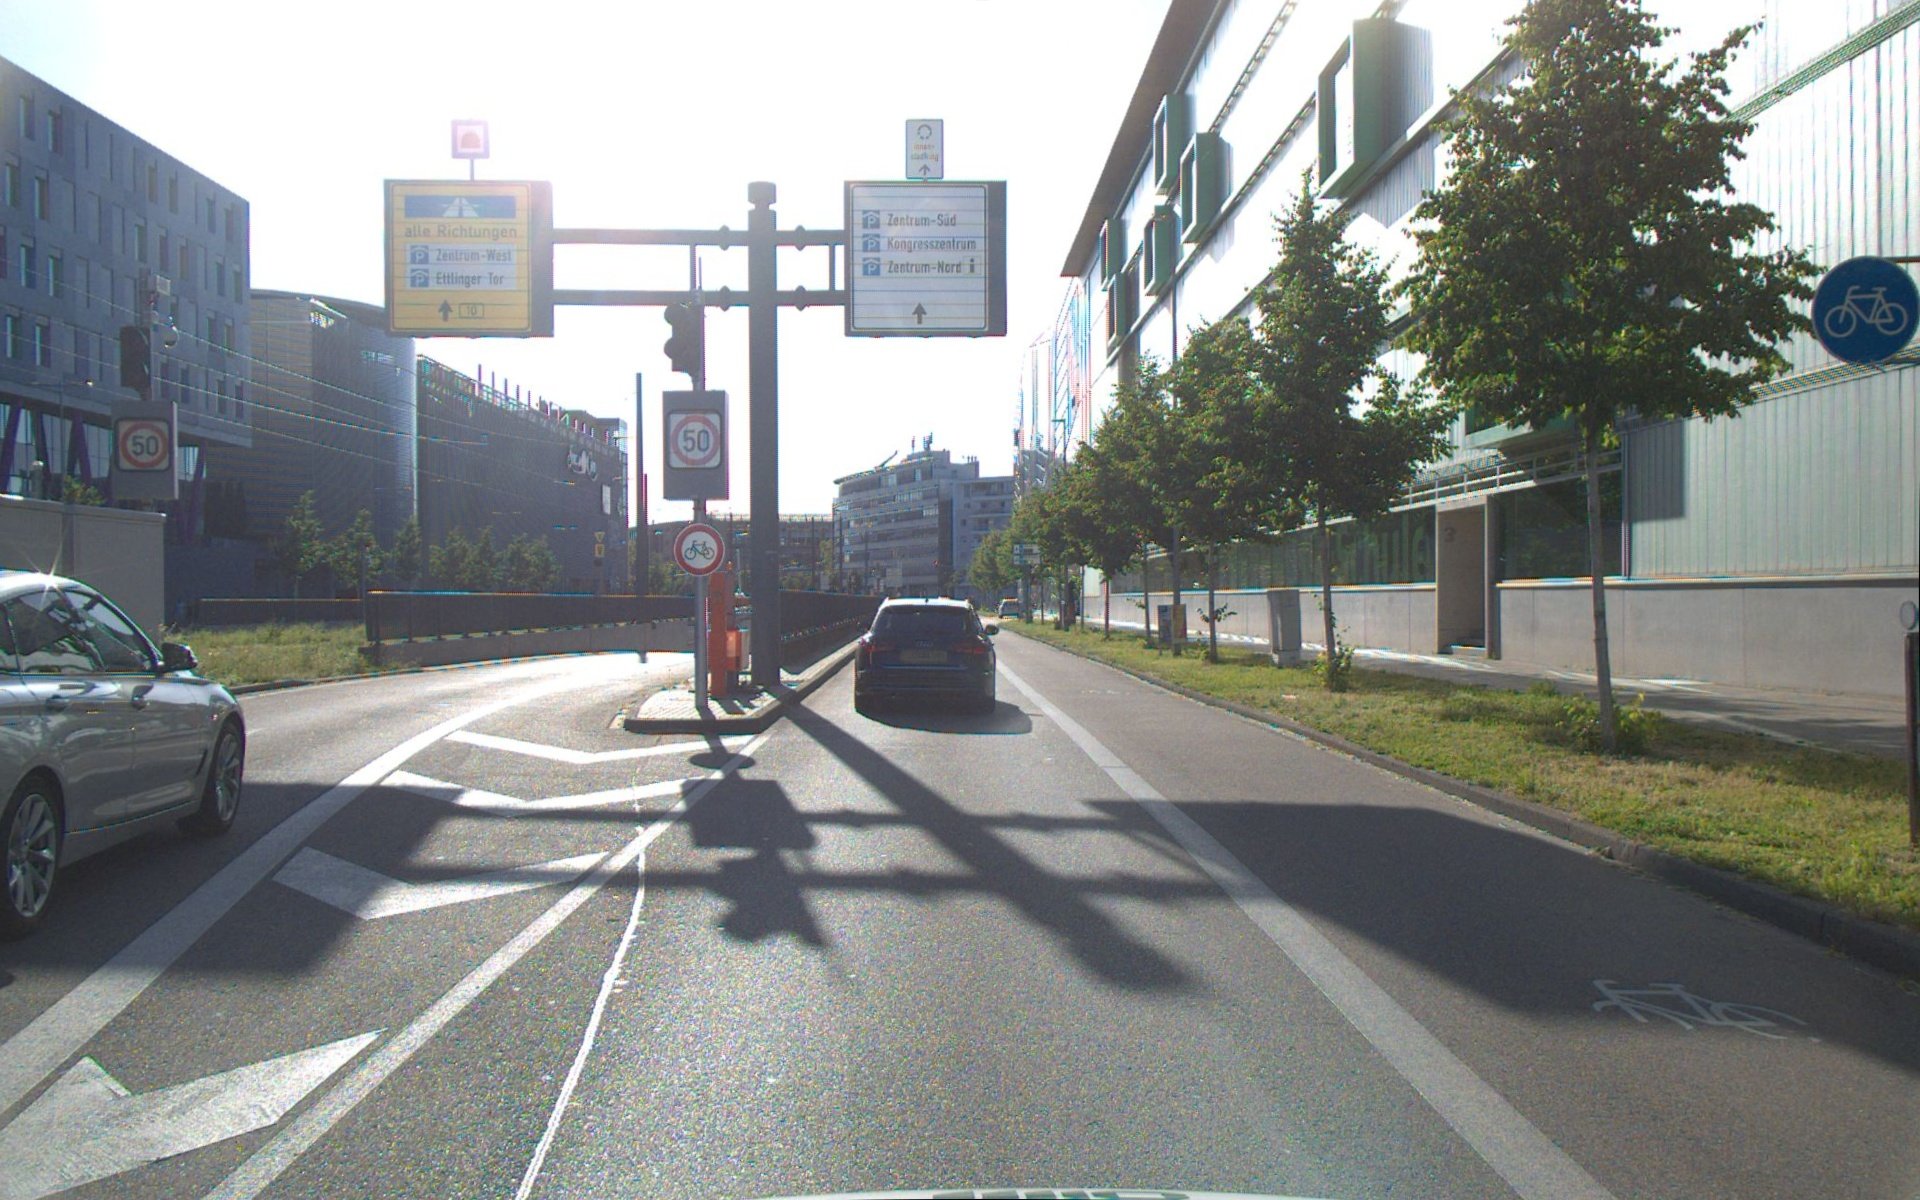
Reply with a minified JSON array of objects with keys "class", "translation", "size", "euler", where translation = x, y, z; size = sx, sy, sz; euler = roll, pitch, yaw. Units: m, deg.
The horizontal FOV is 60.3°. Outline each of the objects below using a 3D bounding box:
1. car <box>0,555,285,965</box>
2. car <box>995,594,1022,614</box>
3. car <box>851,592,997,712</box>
[{"class":"car","translation":[-4.783,0.571,7.928],"size":[1.765,1.553,4.900],"euler":[1,0,-9]},{"class":"car","translation":[3.836,0.288,132.030],"size":[1.815,1.507,4.852],"euler":[-2,1,-2]},{"class":"car","translation":[-0.459,0.642,22.610],"size":[1.775,1.452,4.689],"euler":[-1,0,-1]}]
